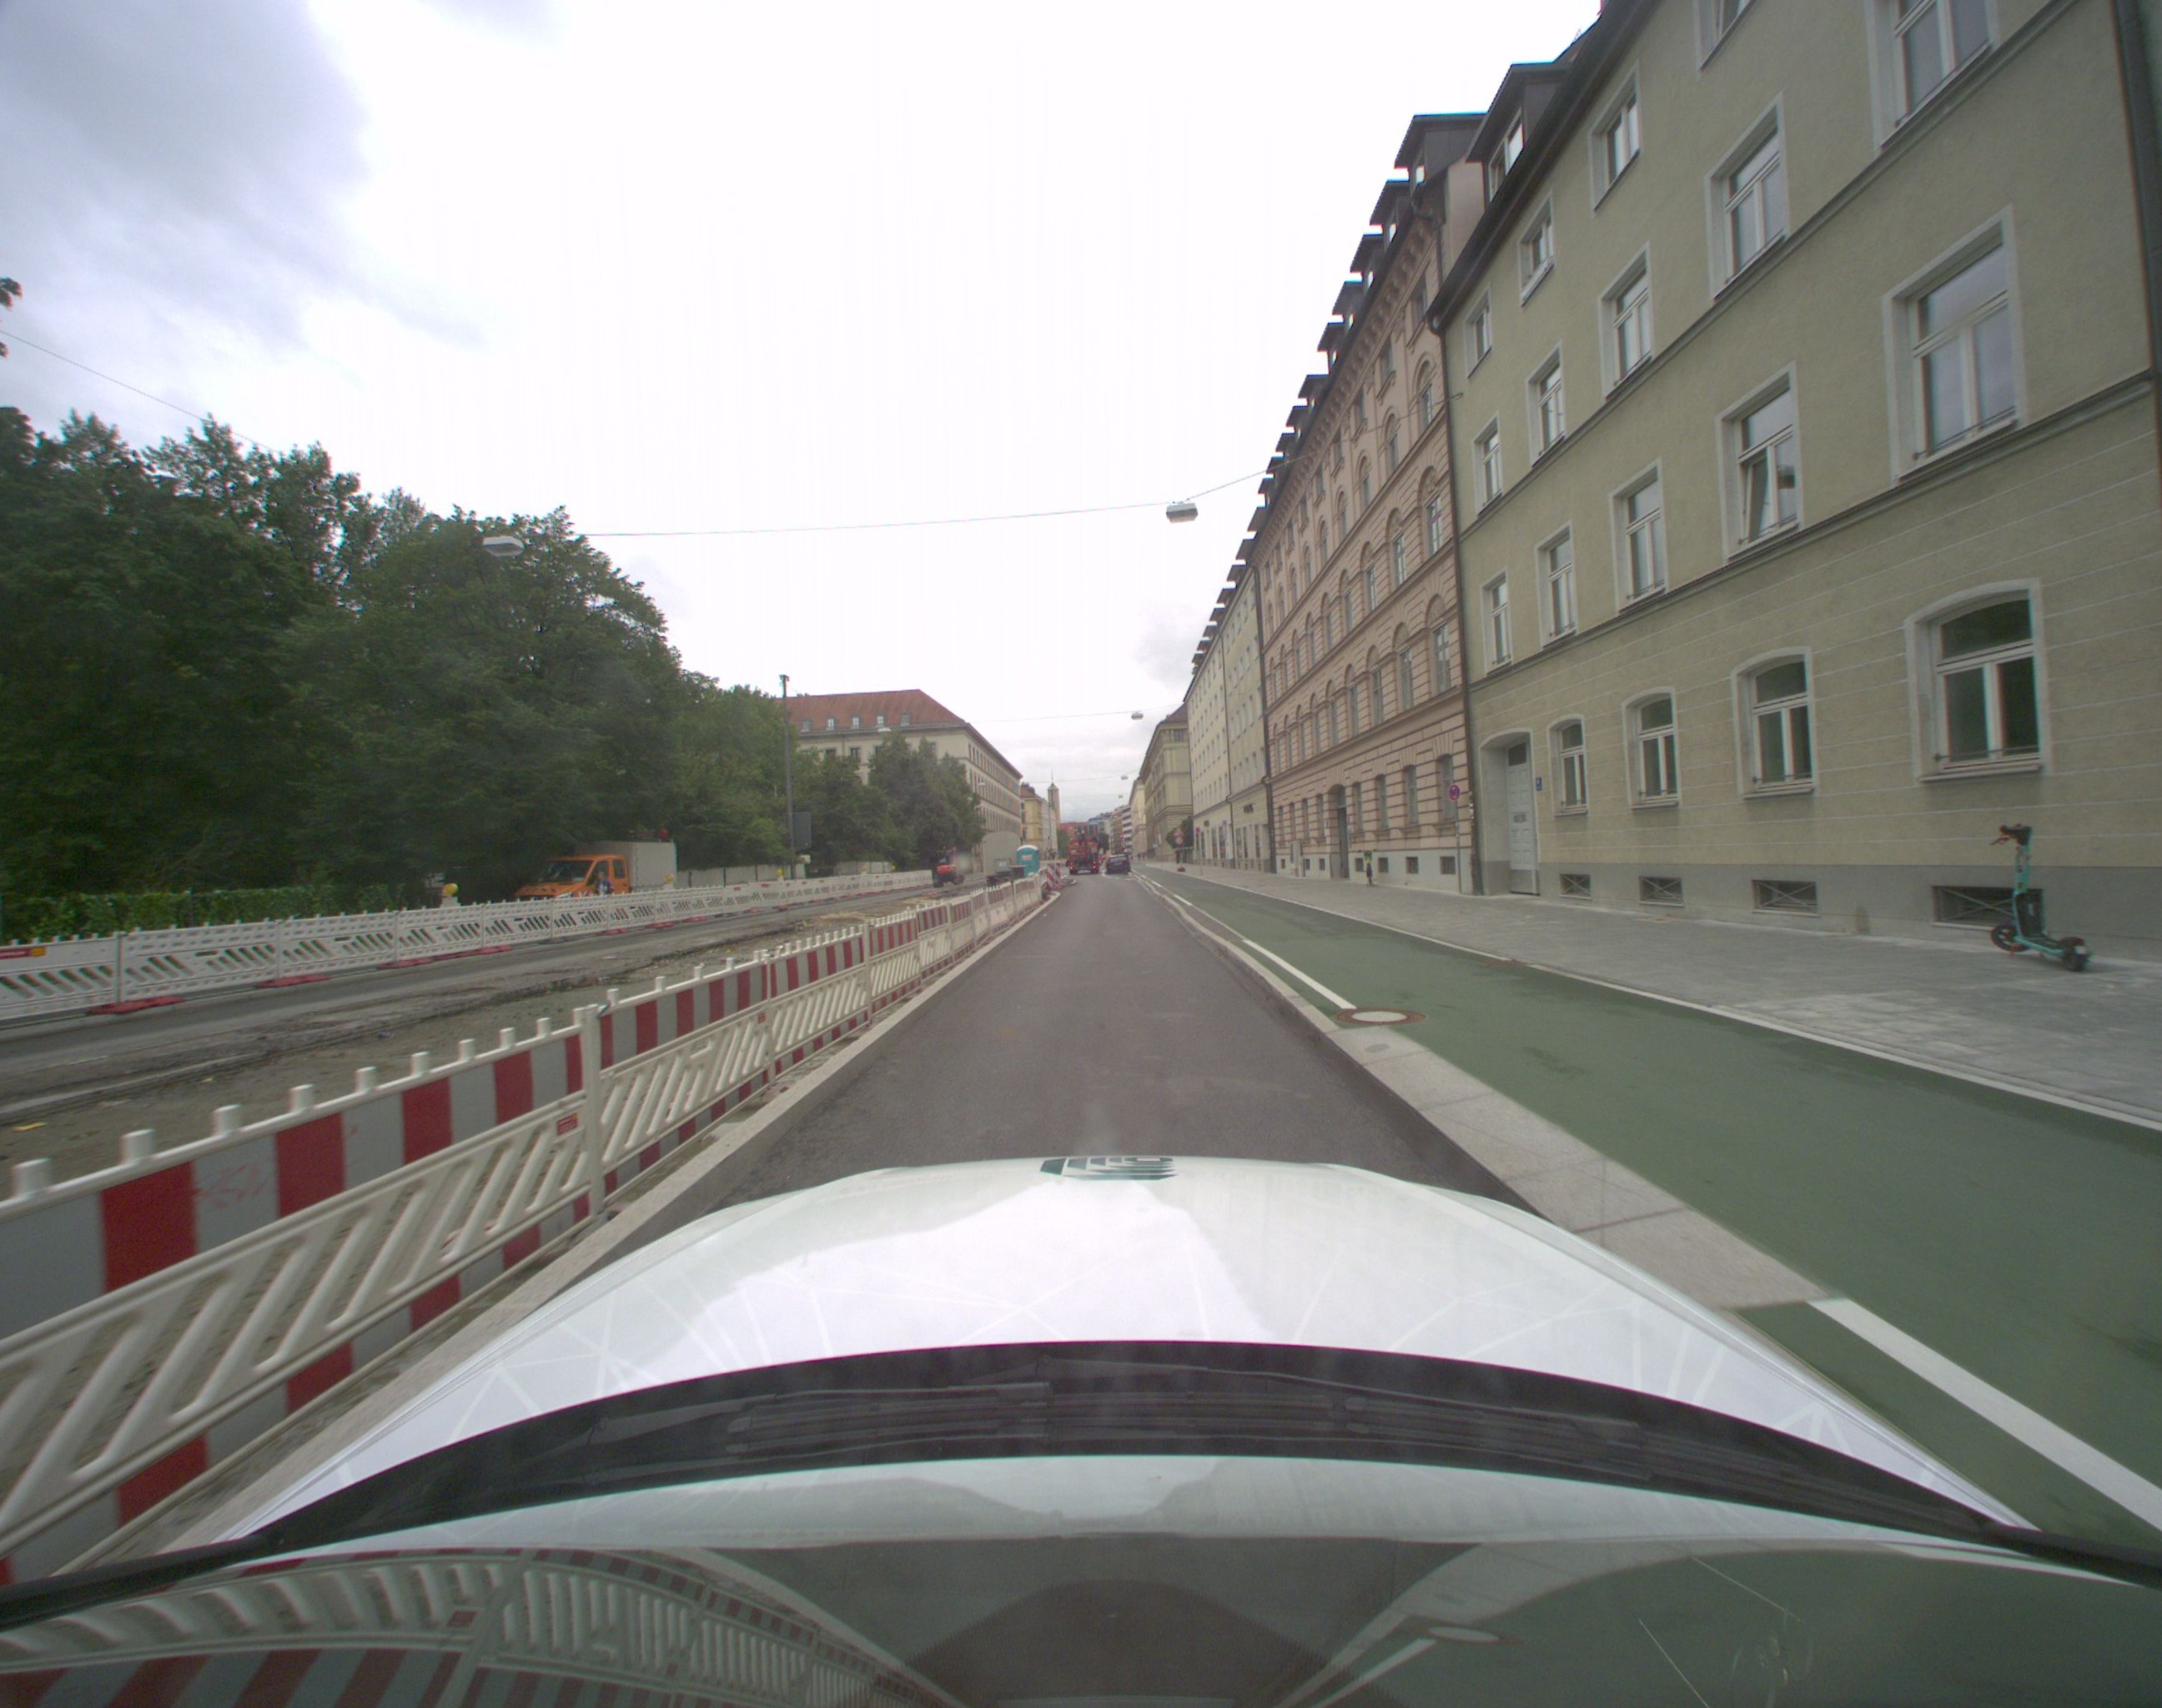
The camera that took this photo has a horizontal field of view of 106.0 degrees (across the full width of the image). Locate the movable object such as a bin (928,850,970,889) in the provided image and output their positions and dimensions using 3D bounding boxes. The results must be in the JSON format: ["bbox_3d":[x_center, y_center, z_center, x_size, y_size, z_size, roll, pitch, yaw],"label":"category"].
[{"bbox_3d":[-9.286,1.041,57.633,1.916,2.572,4.496,-2,0,3],"label":"movable object such as a bin"}]

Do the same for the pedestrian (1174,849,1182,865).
[{"bbox_3d":[11.038,0.334,92.926,0.787,1.836,0.778,-3,0,3],"label":"pedestrian"}]

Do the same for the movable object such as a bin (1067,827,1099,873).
[{"bbox_3d":[0.215,-0.326,69.821,2.415,3.611,5.852,-3,0,1],"label":"movable object such as a bin"}]

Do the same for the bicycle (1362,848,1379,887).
[{"bbox_3d":[9.202,0.418,25.937,0.422,1.174,1.740,-4,0,19],"label":"bicycle"}]

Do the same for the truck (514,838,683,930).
[{"bbox_3d":[-16.291,0.917,28.012,1.985,2.728,5.874,-3,0,3],"label":"truck"}]

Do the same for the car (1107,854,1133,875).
[{"bbox_3d":[3.105,0.830,65.298,1.795,1.480,4.687,-4,0,1],"label":"car"}]

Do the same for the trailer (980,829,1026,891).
[{"bbox_3d":[-4.525,0.346,48.436,2.222,3.243,7.510,-3,0,-3],"label":"trailer"}]

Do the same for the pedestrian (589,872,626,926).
[{"bbox_3d":[-14.769,1.392,25.411,0.660,1.603,0.698,-2,0,2],"label":"pedestrian"}]

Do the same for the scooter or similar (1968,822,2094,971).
[{"bbox_3d":[8.479,0.345,7.306,0.244,1.231,1.126,-5,-1,27],"label":"scooter or similar"}]
